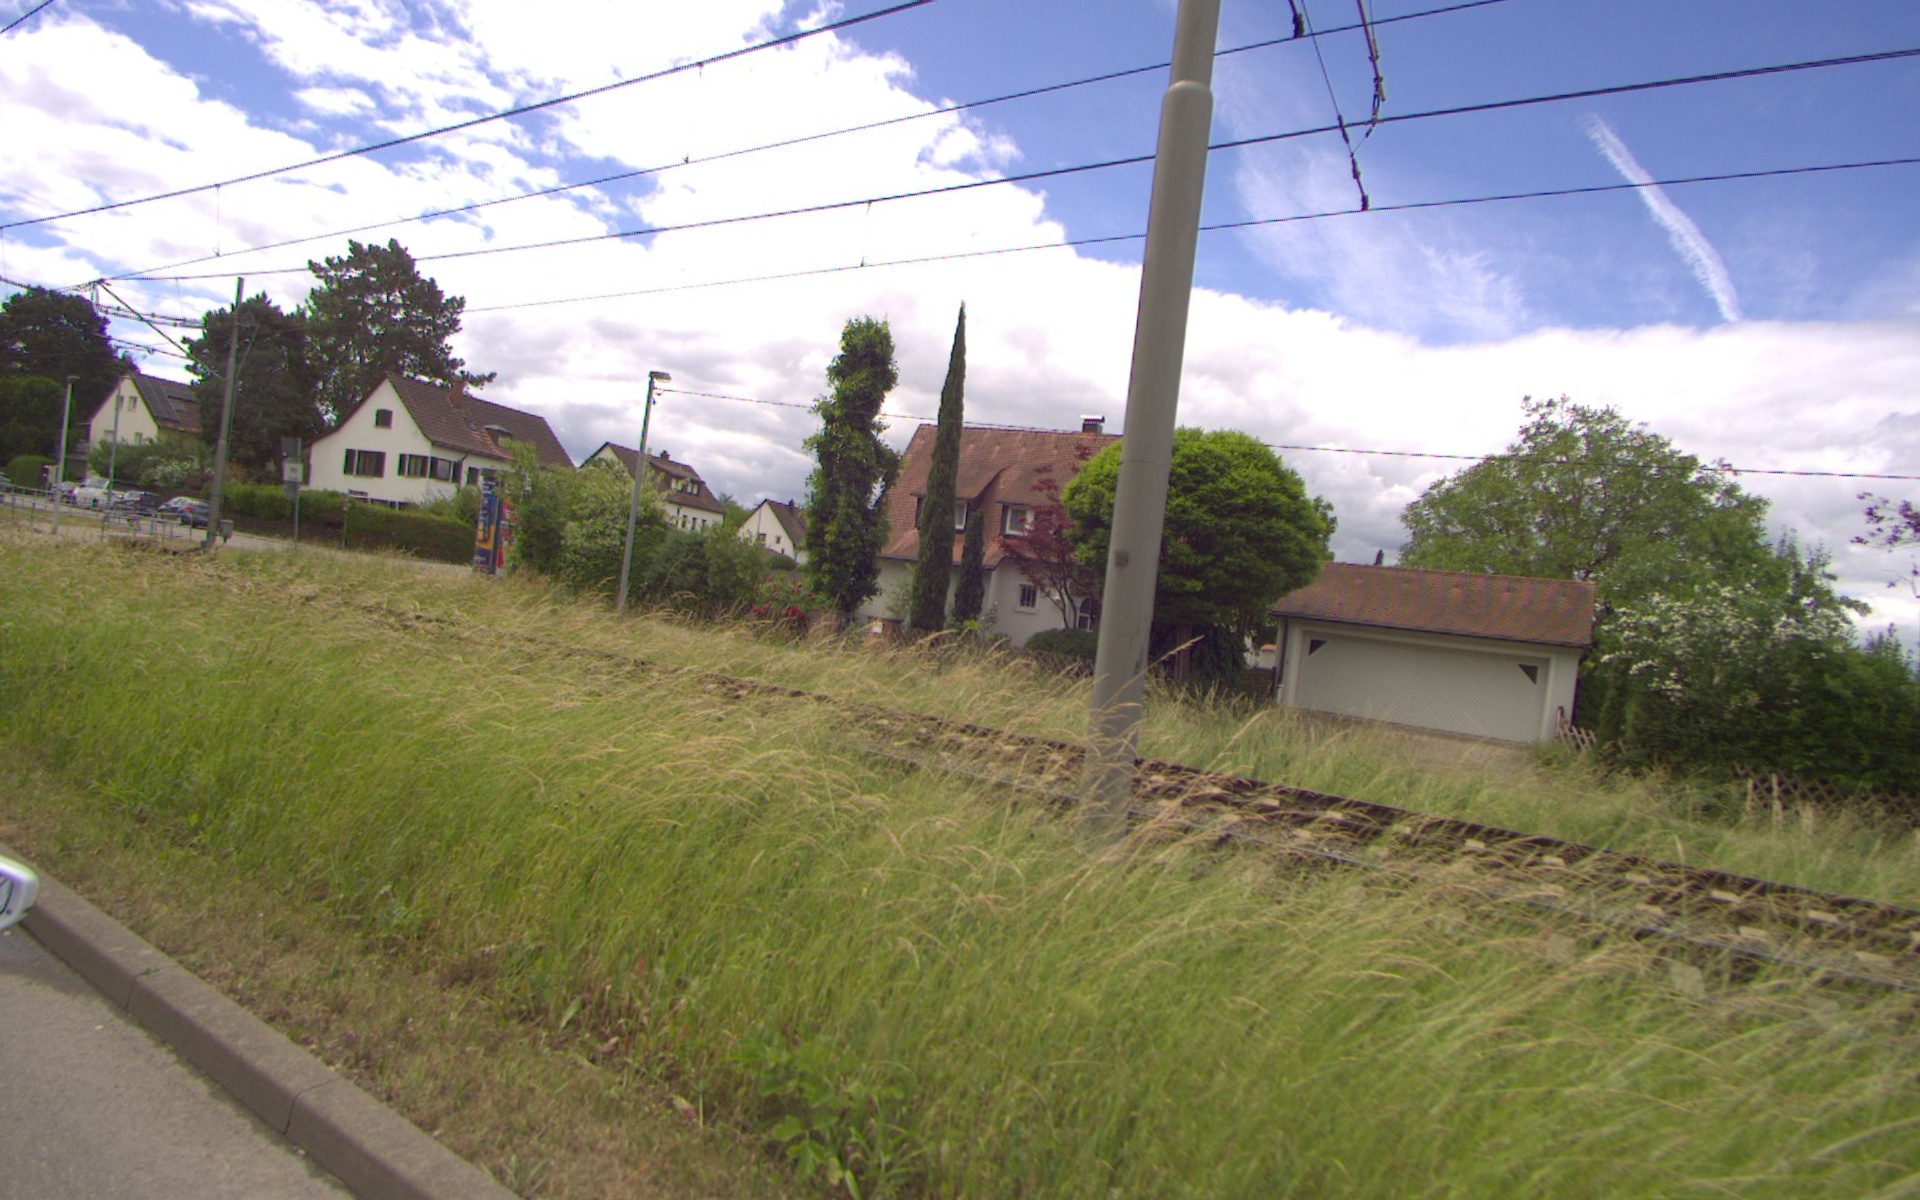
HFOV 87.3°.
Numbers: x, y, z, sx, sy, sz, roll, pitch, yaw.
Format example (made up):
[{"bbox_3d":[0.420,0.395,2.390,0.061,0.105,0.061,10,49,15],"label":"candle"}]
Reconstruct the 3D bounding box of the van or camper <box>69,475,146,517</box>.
[{"bbox_3d":[-48.697,-5.960,57.427,4.965,1.848,1.907,7,0,33],"label":"van or camper"}]

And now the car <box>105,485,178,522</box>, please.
[{"bbox_3d":[-44.587,-5.283,54.810,3.935,1.541,1.885,7,0,33],"label":"car"}]

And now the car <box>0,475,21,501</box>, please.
[{"bbox_3d":[-66.436,-7.837,69.080,3.935,1.541,1.885,7,0,33],"label":"car"}]

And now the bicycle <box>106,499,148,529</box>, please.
[{"bbox_3d":[-34.786,-3.600,41.997,2.498,1.058,0.538,7,1,33],"label":"bicycle"}]

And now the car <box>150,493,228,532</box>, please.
[{"bbox_3d":[-39.664,-4.502,51.719,3.935,1.541,1.885,7,0,33],"label":"car"}]
